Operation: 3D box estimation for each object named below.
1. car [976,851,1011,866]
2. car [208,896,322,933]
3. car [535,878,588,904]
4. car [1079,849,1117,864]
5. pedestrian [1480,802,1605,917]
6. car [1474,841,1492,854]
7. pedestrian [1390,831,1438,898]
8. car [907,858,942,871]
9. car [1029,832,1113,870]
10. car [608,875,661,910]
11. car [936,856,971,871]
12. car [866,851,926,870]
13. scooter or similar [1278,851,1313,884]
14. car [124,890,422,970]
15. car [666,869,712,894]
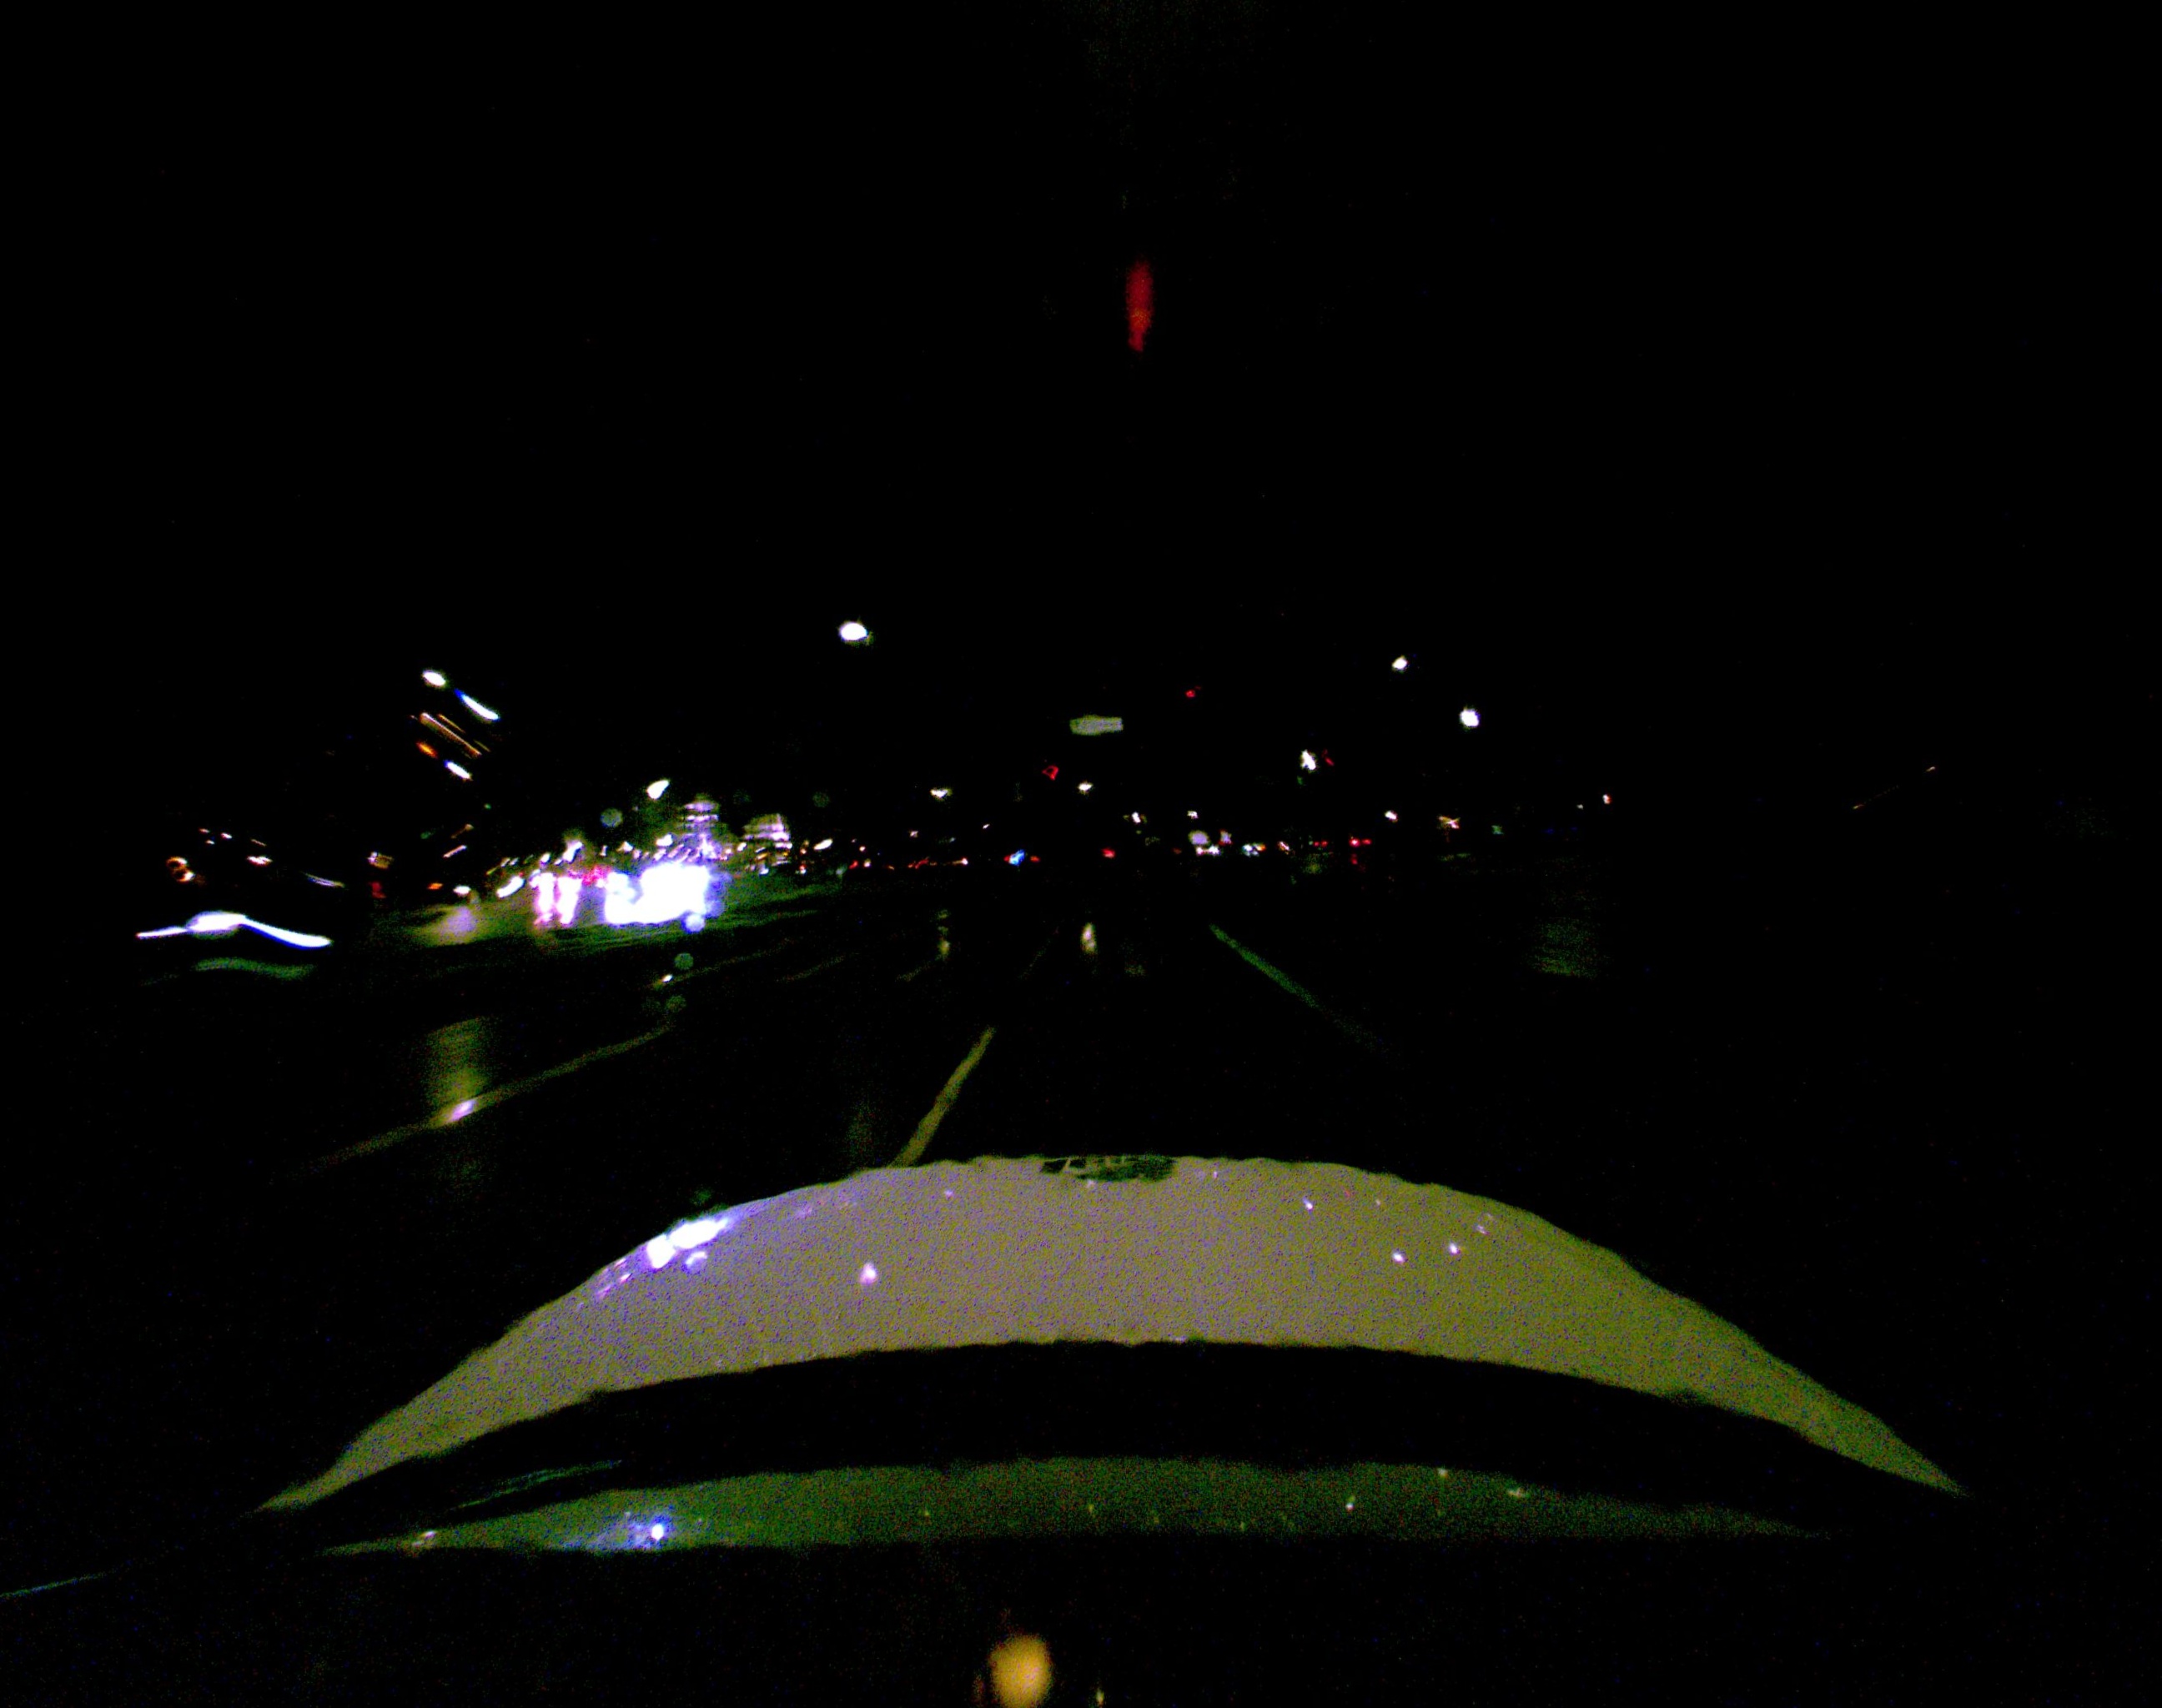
[{"bbox_3d":[-10.273,0.523,95.967,3.939,1.578,1.737,-1,0,-1],"label":"car"},{"bbox_3d":[-41.741,3.063,41.766,4.023,1.574,1.738,-1,0,-45],"label":"car"},{"bbox_3d":[-35.922,2.541,56.459,1.999,1.540,4.390,-1,0,-17],"label":"car"},{"bbox_3d":[1.916,0.239,93.656,3.949,1.616,1.848,-1,0,27],"label":"car"},{"bbox_3d":[7.642,0.084,13.580,1.223,1.794,1.490,-1,0,1],"label":"pedestrian"},{"bbox_3d":[48.608,-0.774,98.481,1.700,1.496,3.936,-1,0,29],"label":"car"},{"bbox_3d":[7.556,0.232,18.491,0.723,1.485,0.836,-1,0,1],"label":"pedestrian"},{"bbox_3d":[-19.087,1.301,99.385,3.983,1.486,1.765,-1,0,-7],"label":"car"},{"bbox_3d":[-0.598,-0.161,46.830,4.543,2.013,1.993,-1,0,-10],"label":"car"},{"bbox_3d":[-25.190,2.110,46.071,2.072,1.716,5.002,-1,0,-23],"label":"car"},{"bbox_3d":[-15.087,1.116,96.074,3.989,1.616,1.830,-1,0,-11],"label":"car"},{"bbox_3d":[-21.362,0.725,94.047,6.321,2.089,2.496,-1,0,-23],"label":"car"},{"bbox_3d":[7.605,0.485,28.868,1.090,1.098,0.320,-4,-1,29],"label":"scooter or similar"},{"bbox_3d":[-19.482,1.745,20.128,1.987,1.402,5.349,-1,0,0],"label":"car"},{"bbox_3d":[-30.245,2.116,63.012,2.058,1.732,5.108,-1,0,-13],"label":"car"}]
